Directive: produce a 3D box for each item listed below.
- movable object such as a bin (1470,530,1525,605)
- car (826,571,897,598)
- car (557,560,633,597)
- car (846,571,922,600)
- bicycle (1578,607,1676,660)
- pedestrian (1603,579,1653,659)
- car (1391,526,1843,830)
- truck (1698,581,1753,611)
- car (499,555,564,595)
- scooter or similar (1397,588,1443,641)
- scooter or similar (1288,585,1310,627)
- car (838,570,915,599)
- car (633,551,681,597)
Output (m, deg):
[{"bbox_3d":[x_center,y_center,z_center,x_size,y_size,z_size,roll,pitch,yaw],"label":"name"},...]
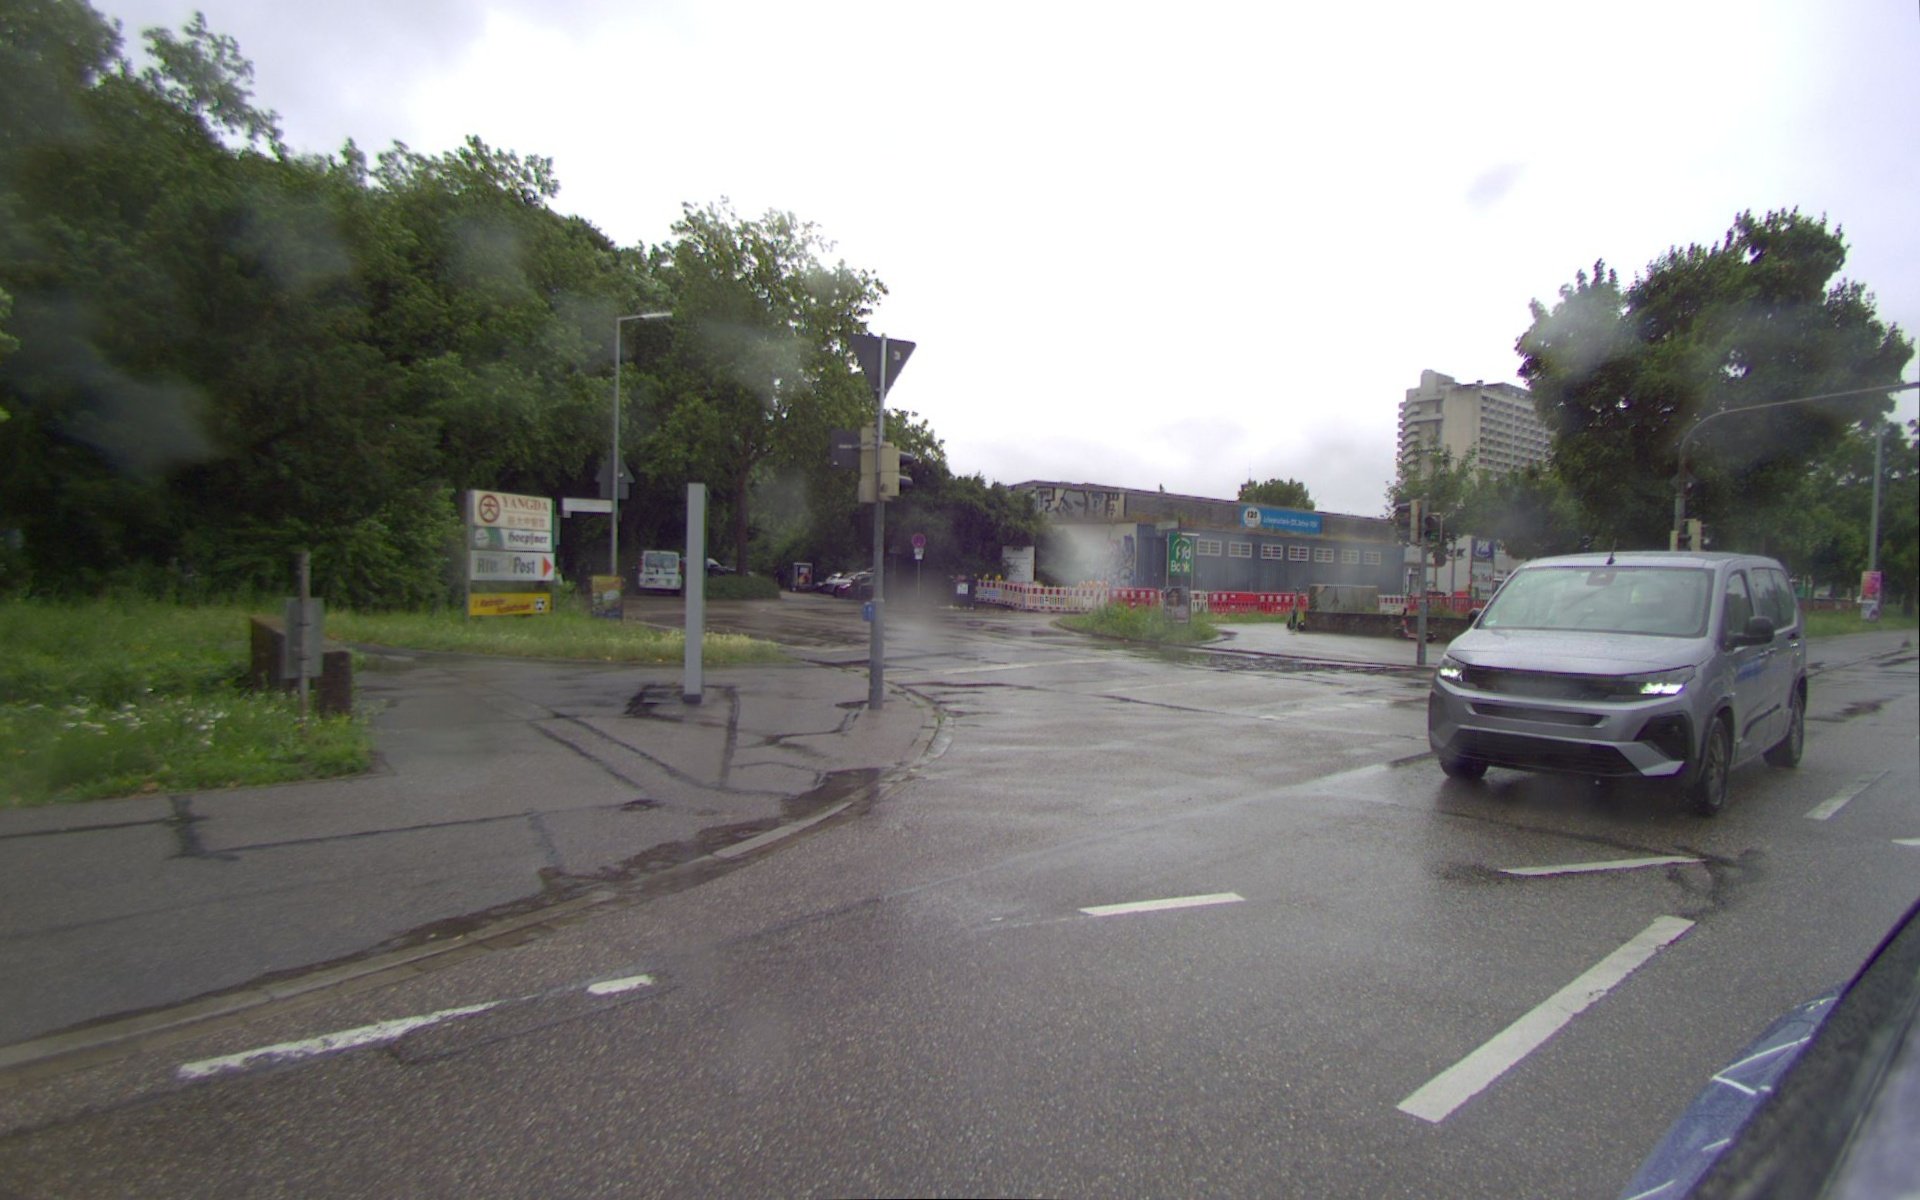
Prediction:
[{"bbox_3d":[33.069,-1.990,62.201,3.838,4.482,1.557,-1,0,-39],"label":"movable object such as a bin"},{"bbox_3d":[-5.832,-0.910,59.853,3.916,1.529,1.706,-1,0,-14],"label":"car"},{"bbox_3d":[-15.754,-0.902,43.565,1.890,1.508,4.192,-1,0,-37],"label":"car"},{"bbox_3d":[-4.162,-0.813,55.561,3.916,1.529,1.706,-1,0,-14],"label":"car"},{"bbox_3d":[14.927,0.734,22.703,1.642,1.050,0.785,1,3,17],"label":"bicycle"},{"bbox_3d":[14.949,0.410,22.678,0.660,1.699,0.786,2,3,17],"label":"pedestrian"},{"bbox_3d":[5.553,0.439,8.298,4.483,1.818,1.997,-1,1,-41],"label":"car"},{"bbox_3d":[78.350,-0.477,103.508,8.597,2.935,2.808,-1,0,-41],"label":"truck"},{"bbox_3d":[-17.937,-1.011,42.298,1.689,1.617,3.667,-1,0,-37],"label":"car"},{"bbox_3d":[11.514,0.347,25.354,0.316,1.244,0.961,1,4,-35],"label":"scooter or similar"},{"bbox_3d":[9.658,0.175,28.860,0.549,1.191,0.286,1,1,-34],"label":"scooter or similar"},{"bbox_3d":[-4.748,-0.898,57.513,4.123,1.592,1.810,-1,0,-14],"label":"car"},{"bbox_3d":[-13.766,-1.147,45.811,1.885,1.989,4.203,-1,0,-19],"label":"car"}]
